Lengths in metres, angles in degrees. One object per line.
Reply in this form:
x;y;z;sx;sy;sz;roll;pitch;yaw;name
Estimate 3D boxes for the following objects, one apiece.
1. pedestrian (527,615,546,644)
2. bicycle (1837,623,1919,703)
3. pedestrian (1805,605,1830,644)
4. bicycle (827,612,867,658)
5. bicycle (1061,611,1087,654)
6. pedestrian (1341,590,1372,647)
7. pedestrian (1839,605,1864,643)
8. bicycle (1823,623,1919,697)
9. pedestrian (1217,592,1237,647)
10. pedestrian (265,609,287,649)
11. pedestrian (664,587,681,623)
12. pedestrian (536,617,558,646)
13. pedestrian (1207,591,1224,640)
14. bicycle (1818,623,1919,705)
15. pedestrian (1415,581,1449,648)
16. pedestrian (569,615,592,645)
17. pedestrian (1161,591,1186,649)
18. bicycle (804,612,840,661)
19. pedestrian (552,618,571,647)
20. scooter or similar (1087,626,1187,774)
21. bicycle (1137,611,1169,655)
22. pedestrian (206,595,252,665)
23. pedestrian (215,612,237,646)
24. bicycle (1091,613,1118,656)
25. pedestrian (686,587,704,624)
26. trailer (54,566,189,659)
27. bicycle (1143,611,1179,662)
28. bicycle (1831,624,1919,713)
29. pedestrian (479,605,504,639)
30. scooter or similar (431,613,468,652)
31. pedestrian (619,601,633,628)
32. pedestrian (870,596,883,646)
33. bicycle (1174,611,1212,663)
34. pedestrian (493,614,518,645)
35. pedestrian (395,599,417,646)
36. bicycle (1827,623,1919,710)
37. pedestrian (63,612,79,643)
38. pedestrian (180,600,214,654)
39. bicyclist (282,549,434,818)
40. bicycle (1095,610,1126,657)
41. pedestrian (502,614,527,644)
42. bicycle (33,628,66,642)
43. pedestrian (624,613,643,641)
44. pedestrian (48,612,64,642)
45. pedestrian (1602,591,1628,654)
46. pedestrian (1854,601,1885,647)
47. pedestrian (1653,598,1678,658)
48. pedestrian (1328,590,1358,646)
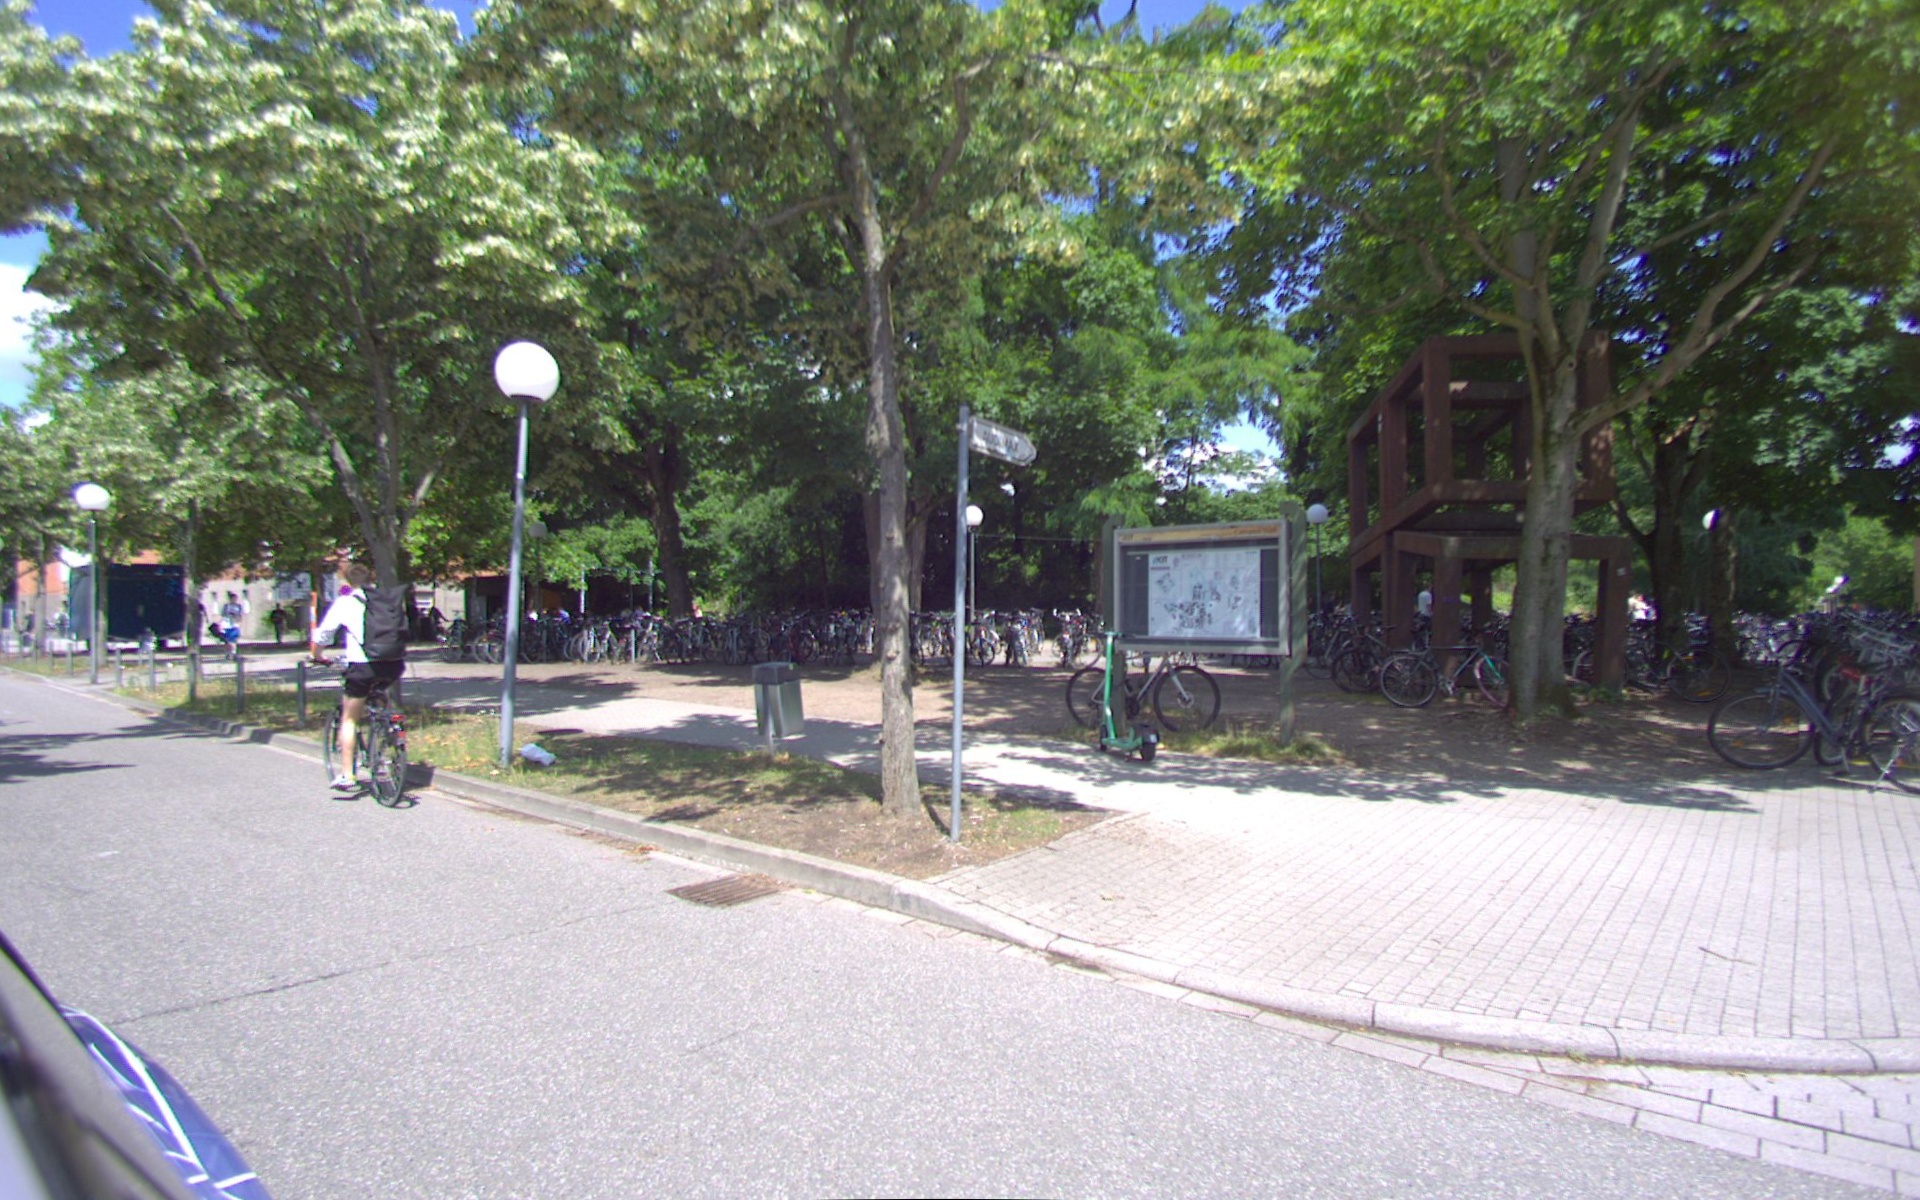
-19.186;1.347;45.871;0.693;1.281;0.554;-1;-1;41;pedestrian
13.817;0.893;14.415;1.972;1.094;0.546;-1;0;41;bicycle
36.167;1.040;42.682;0.759;1.608;0.389;-1;-1;40;pedestrian
-2.964;0.894;26.779;0.632;1.141;2.057;-2;0;5;bicycle
3.195;0.901;28.467;0.632;1.141;2.057;-2;-1;5;bicycle
11.866;0.542;30.302;0.685;1.683;0.555;-1;0;5;pedestrian
39.404;1.058;44.724;0.780;1.628;0.716;1;0;43;pedestrian
14.562;0.910;15.549;1.972;1.094;0.546;-1;0;41;bicycle
8.347;0.609;31.634;0.539;1.726;0.412;-1;0;10;pedestrian
-29.056;1.213;43.018;0.643;1.678;0.624;-1;0;41;pedestrian
-11.785;0.207;41.468;0.458;1.433;0.502;-1;-1;30;pedestrian
-19.281;1.474;47.271;0.778;1.333;0.680;-1;-2;42;pedestrian
8.129;0.497;32.216;0.481;1.538;0.408;-1;0;10;pedestrian
13.150;0.878;13.965;1.972;1.094;0.546;-1;0;41;bicycle
13.969;0.419;29.987;0.688;1.948;0.647;-1;0;5;pedestrian
-16.566;1.301;44.152;0.764;1.260;0.565;-1;-1;29;pedestrian
6.301;0.578;29.868;0.623;1.683;0.577;-1;0;5;pedestrian
-3.632;0.942;26.752;0.473;1.141;2.058;-2;2;5;bicycle
-18.415;1.497;46.745;0.559;1.333;0.638;-1;-2;42;pedestrian
1.539;0.836;8.989;0.334;1.184;1.332;-1;0;-15;scooter or similar
5.355;0.892;28.116;0.632;1.141;2.057;-2;0;5;bicycle
-19.711;0.796;27.286;0.986;1.844;0.791;-2;-1;41;pedestrian
-33.560;1.326;46.270;0.499;1.521;0.735;-1;0;41;pedestrian
4.065;0.964;28.562;0.632;1.141;2.057;-2;-1;5;bicycle
-11.087;0.246;42.327;0.472;1.534;0.502;-1;-1;30;pedestrian
-30.121;0.457;36.276;6.262;3.049;2.669;-1;0;41;trailer
5.042;0.899;25.428;0.632;1.141;2.057;-2;1;5;bicycle
12.255;0.858;12.716;1.972;1.094;0.546;-1;0;41;bicycle
-20.017;0.940;43.236;0.733;1.379;0.594;-3;-1;6;pedestrian
-17.167;1.080;34.008;1.241;1.255;0.691;-1;0;41;scooter or similar
-14.510;0.623;43.947;0.505;1.148;0.333;-1;-1;30;pedestrian
-2.735;0.673;33.144;0.345;1.626;0.462;-1;0;-8;pedestrian
5.811;0.910;25.319;0.632;1.141;2.057;-1;2;5;bicycle
-19.228;1.248;42.818;0.733;1.243;0.594;-3;-1;6;pedestrian
-22.059;0.901;40.304;0.805;1.862;0.524;-1;-1;41;pedestrian
12.625;0.866;13.196;1.972;1.094;0.546;-1;0;41;bicycle
-52.352;1.598;59.588;0.917;1.793;0.570;-1;-1;40;pedestrian
-28.753;0.999;38.142;0.906;1.969;0.893;-2;1;-40;pedestrian
-4.891;0.643;8.225;1.017;2.029;0.704;-1;-3;38;bicyclist
3.844;0.846;25.962;0.632;1.141;2.057;-2;-1;5;bicycle
-19.117;1.249;43.431;0.733;1.243;0.594;-3;-1;6;pedestrian
-72.633;2.796;80.737;0.518;1.038;1.931;-1;-1;39;bicycle
-14.068;1.172;43.632;0.728;1.203;0.388;-1;-1;31;pedestrian
-52.852;1.577;59.151;0.805;1.775;0.557;-1;-1;40;pedestrian
21.300;0.734;32.900;0.525;2.029;0.521;-1;-1;-35;pedestrian
33.834;0.883;37.653;0.621;1.708;0.604;0;-1;-23;pedestrian
24.397;0.963;34.997;0.525;2.029;0.521;-1;-1;-35;pedestrian
11.702;0.540;30.900;0.695;1.683;0.555;-1;0;5;pedestrian
